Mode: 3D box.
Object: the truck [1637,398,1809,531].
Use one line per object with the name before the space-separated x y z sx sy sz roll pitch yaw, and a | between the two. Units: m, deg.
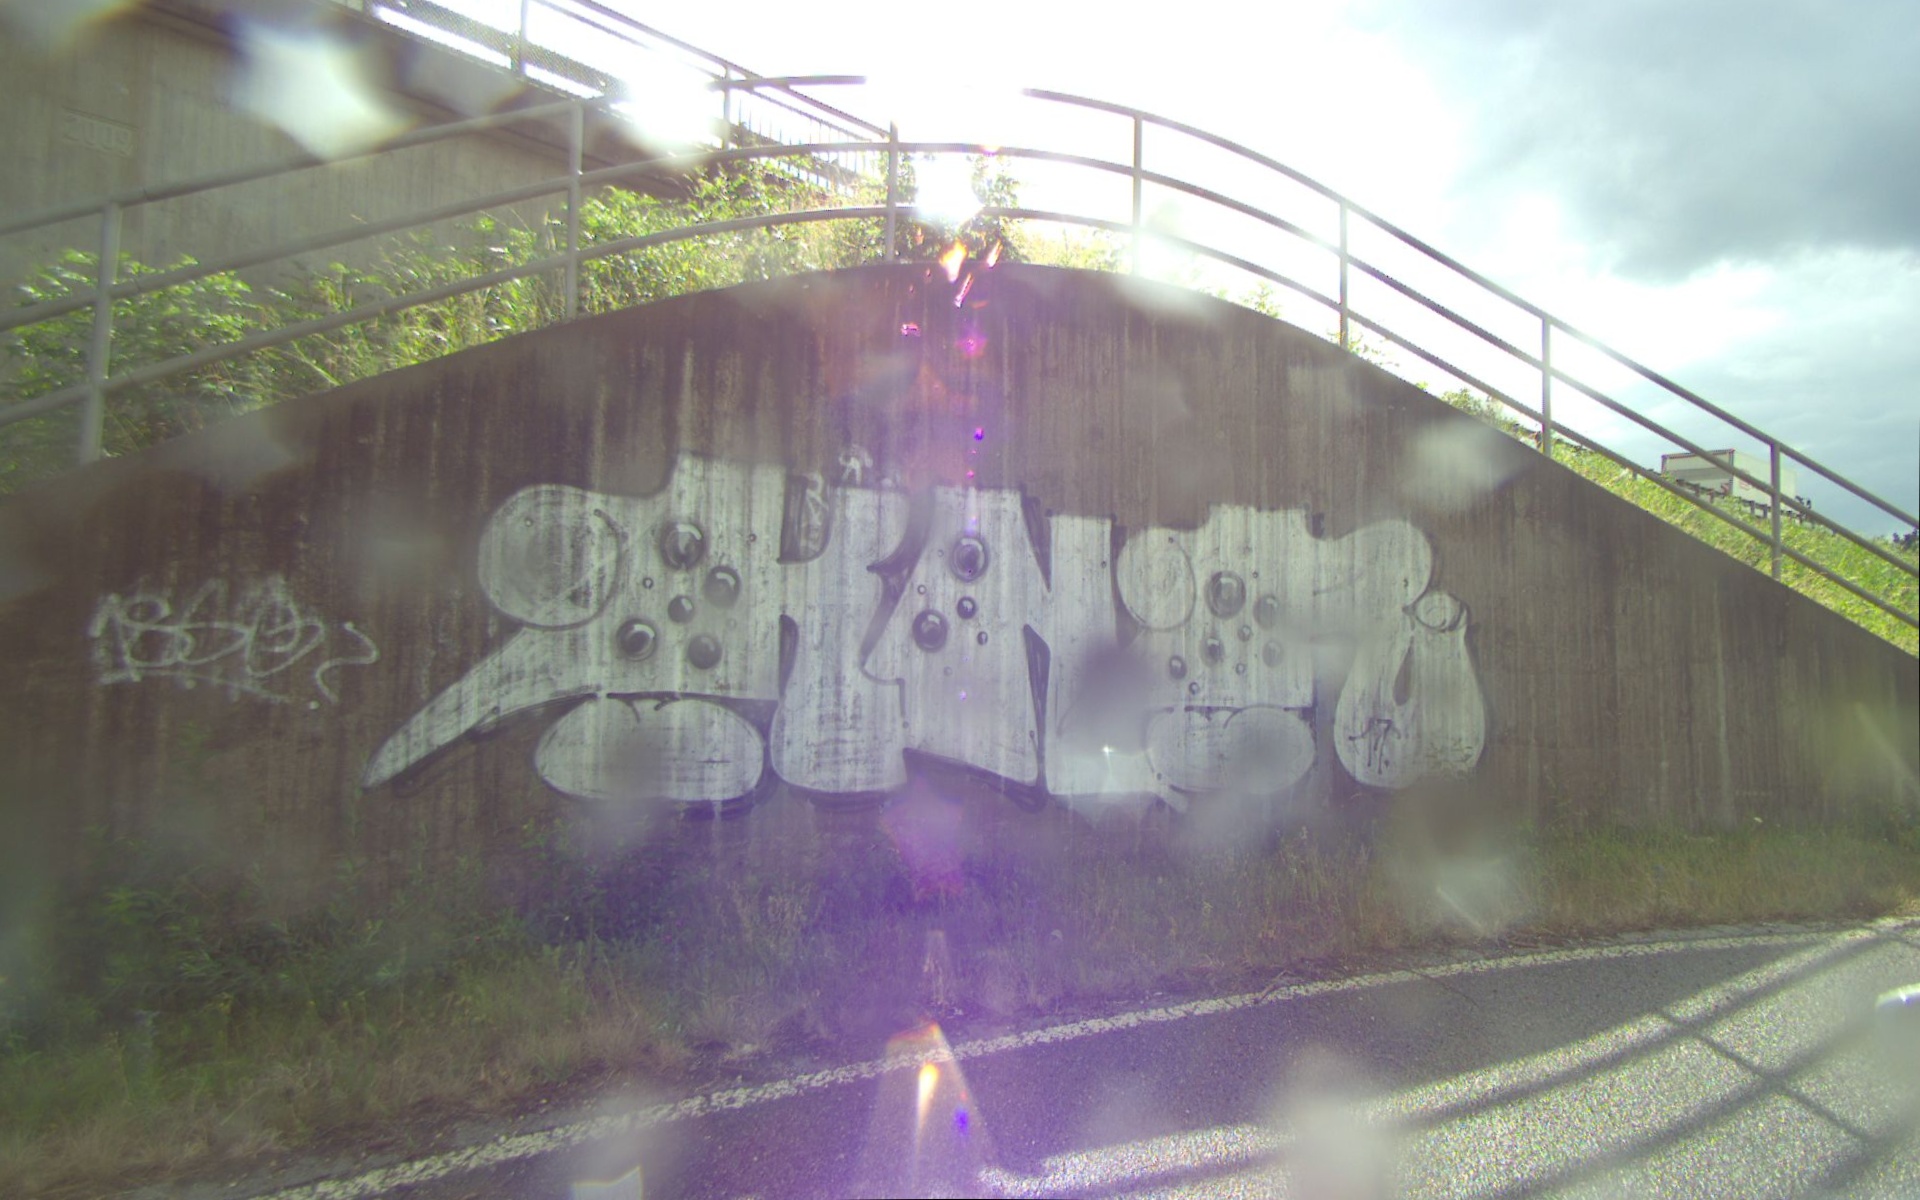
truck | 32.709 -5.531 42.919 9.146 4.017 3.160 4 -3 -35
